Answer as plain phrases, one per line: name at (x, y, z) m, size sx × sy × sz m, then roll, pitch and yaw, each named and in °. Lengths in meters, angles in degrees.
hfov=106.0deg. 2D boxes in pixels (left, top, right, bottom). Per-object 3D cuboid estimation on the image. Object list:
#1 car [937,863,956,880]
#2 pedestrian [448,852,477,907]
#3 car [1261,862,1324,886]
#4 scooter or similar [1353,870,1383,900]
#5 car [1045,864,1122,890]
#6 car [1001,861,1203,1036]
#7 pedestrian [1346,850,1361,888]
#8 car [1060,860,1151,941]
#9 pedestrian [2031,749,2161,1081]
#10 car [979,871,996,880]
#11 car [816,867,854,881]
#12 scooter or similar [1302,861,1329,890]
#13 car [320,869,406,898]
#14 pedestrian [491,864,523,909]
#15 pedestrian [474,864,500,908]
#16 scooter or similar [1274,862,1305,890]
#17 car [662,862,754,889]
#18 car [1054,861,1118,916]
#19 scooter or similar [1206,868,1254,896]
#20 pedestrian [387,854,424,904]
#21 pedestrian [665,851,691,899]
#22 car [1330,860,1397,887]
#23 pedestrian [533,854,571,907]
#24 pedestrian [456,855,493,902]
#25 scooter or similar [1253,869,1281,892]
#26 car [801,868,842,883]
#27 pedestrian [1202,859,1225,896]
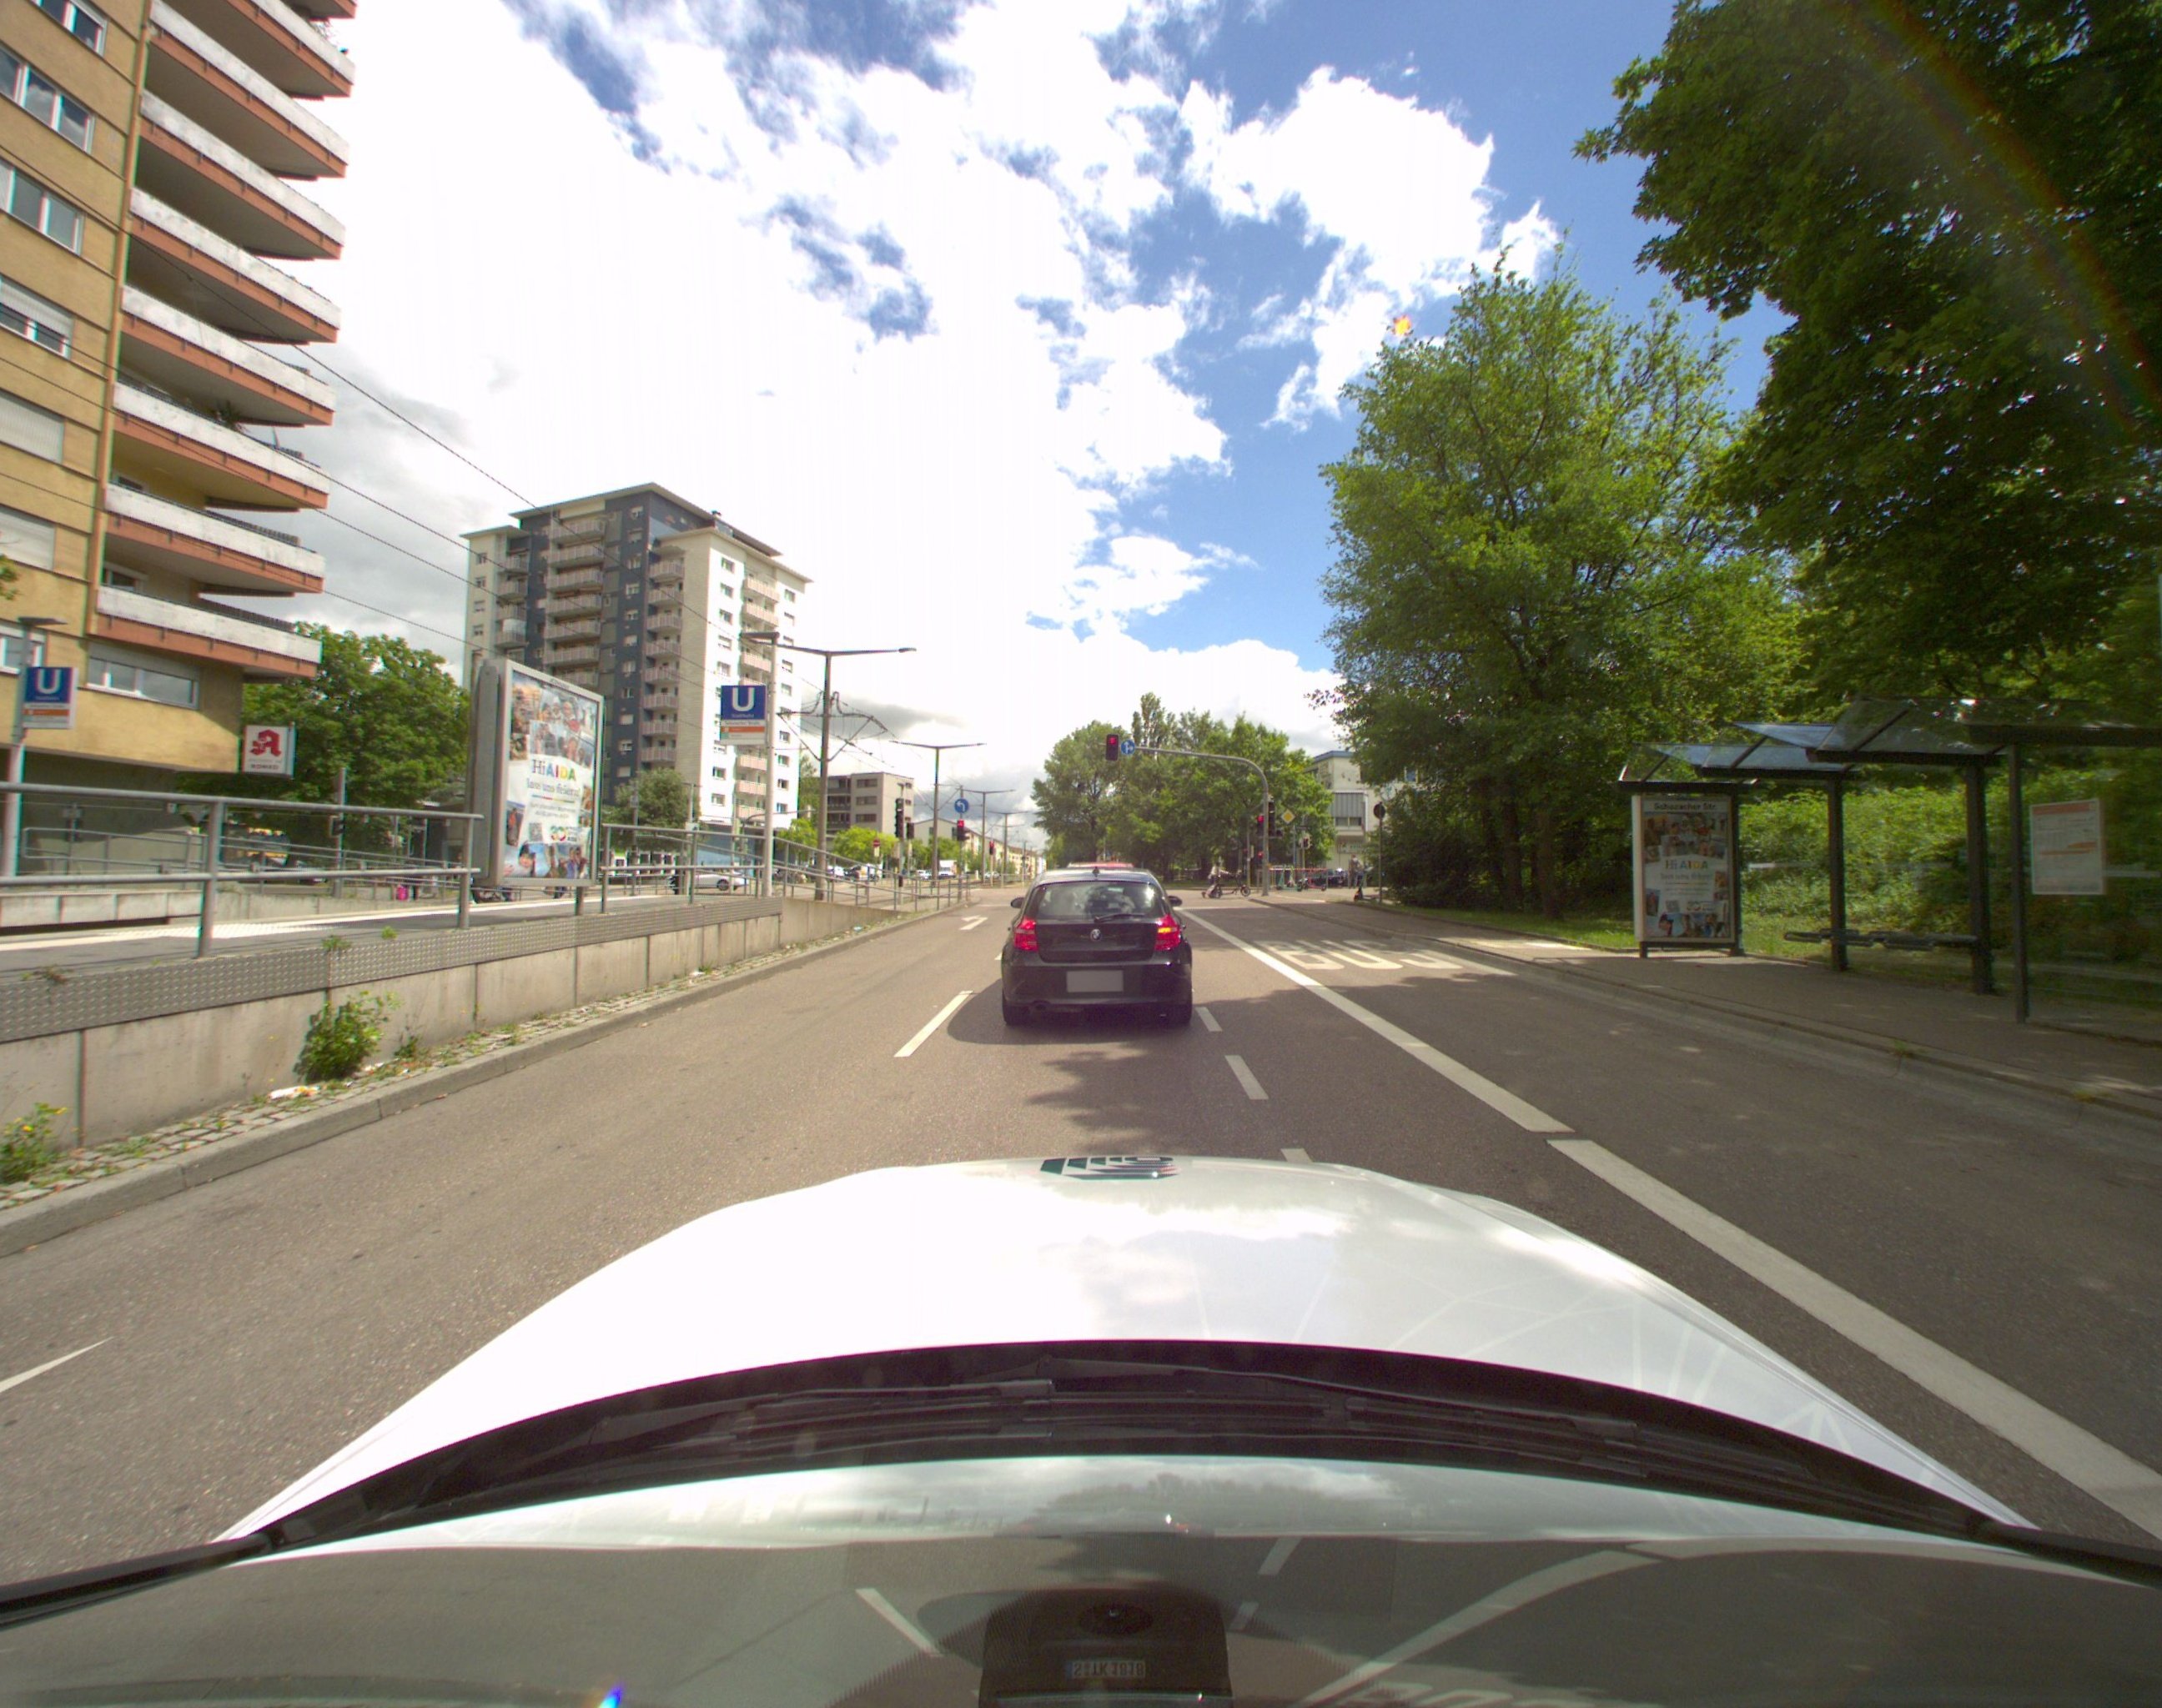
car at (-21.368, 2.763, 129.413) m, size 2.132 × 2.640 × 5.358 m, roll 0°, pitch 0°, yaw 0°
pedestrian at (-19.713, 0.796, 25.958) m, size 0.685 × 1.706 × 0.817 m, roll 0°, pitch -1°, yaw -42°
car at (13.640, 1.265, 52.669) m, size 3.600 × 1.462 × 1.612 m, roll -1°, pitch -1°, yaw -7°
scooter or similar at (10.804, 1.153, 30.646) m, size 1.153 × 1.099 × 0.329 m, roll 0°, pitch -1°, yaw -22°
car at (0.121, 1.424, 51.503) m, size 4.635 × 1.480 × 1.995 m, roll -1°, pitch -1°, yaw -7°
car at (0.281, 0.793, 8.451) m, size 1.647 × 1.419 × 3.520 m, roll -1°, pitch 0°, yaw 4°
pedestrian at (13.308, 0.740, 39.785) m, size 0.608 × 1.790 × 0.571 m, roll 3°, pitch -1°, yaw 20°
car at (0.515, 0.830, 16.143) m, size 1.588 × 1.419 × 3.519 m, roll -1°, pitch 0°, yaw 2°
pedestrian at (6.560, 0.346, 4.636) m, size 0.798 × 1.895 × 1.271 m, roll -1°, pitch -1°, yaw 3°
car at (-18.491, 4.228, 161.528) m, size 1.951 × 1.596 × 4.017 m, roll 0°, pitch 0°, yaw 16°
car at (-26.524, 2.155, 87.818) m, size 3.600 × 1.462 × 1.612 m, roll -1°, pitch -1°, yaw -7°
scooter or similar at (10.349, 0.926, 35.923) m, size 1.107 × 1.258 × 0.331 m, roll -1°, pitch -1°, yaw -10°
car at (-44.107, 1.778, 50.098) m, size 3.674 × 1.680 × 1.742 m, roll -1°, pitch -1°, yaw -3°
pedestrian at (-17.458, 0.972, 24.789) m, size 0.691 × 1.343 × 0.852 m, roll 0°, pitch -1°, yaw -29°
pedestrian at (-18.485, 0.999, 25.347) m, size 0.660 × 1.343 × 0.558 m, roll -1°, pitch -1°, yaw 44°
scooter or similar at (8.987, 0.948, 35.119) m, size 1.290 × 1.189 × 0.383 m, roll -1°, pitch -1°, yaw -14°
car at (-22.257, 1.279, 48.738) m, size 4.571 × 1.526 × 1.939 m, roll -1°, pitch 0°, yaw -9°
car at (0.139, 0.911, 22.950) m, size 1.649 × 1.419 × 3.516 m, roll -1°, pitch 0°, yaw 0°
scooter or similar at (5.826, 1.089, 31.838) m, size 1.780 × 1.051 × 0.409 m, roll -1°, pitch 0°, yaw -10°
pedestrian at (-21.802, 0.804, 26.289) m, size 0.602 × 1.583 × 0.779 m, roll -1°, pitch -1°, yaw 37°
pedestrian at (-14.113, 0.719, 28.517) m, size 0.706 × 1.633 × 0.631 m, roll -1°, pitch -1°, yaw -36°
car at (17.382, 1.175, 50.159) m, size 3.578 × 1.601 × 1.705 m, roll 0°, pitch -1°, yaw -11°
pedestrian at (-17.023, 0.840, 26.212) m, size 0.860 × 1.696 × 0.685 m, roll 0°, pitch -1°, yaw -18°
pedestrian at (-20.428, 0.814, 27.429) m, size 0.850 × 1.578 × 0.626 m, roll -1°, pitch -1°, yaw 19°
scooter or similar at (7.747, 1.100, 33.888) m, size 1.121 × 0.957 × 0.299 m, roll -1°, pitch -1°, yaw -14°
car at (-25.734, 2.147, 80.849) m, size 3.600 × 1.462 × 1.612 m, roll -1°, pitch -1°, yaw -7°
pedestrian at (5.262, 0.926, 32.273) m, size 0.860 × 1.442 × 0.800 m, roll -1°, pitch -1°, yaw 9°
